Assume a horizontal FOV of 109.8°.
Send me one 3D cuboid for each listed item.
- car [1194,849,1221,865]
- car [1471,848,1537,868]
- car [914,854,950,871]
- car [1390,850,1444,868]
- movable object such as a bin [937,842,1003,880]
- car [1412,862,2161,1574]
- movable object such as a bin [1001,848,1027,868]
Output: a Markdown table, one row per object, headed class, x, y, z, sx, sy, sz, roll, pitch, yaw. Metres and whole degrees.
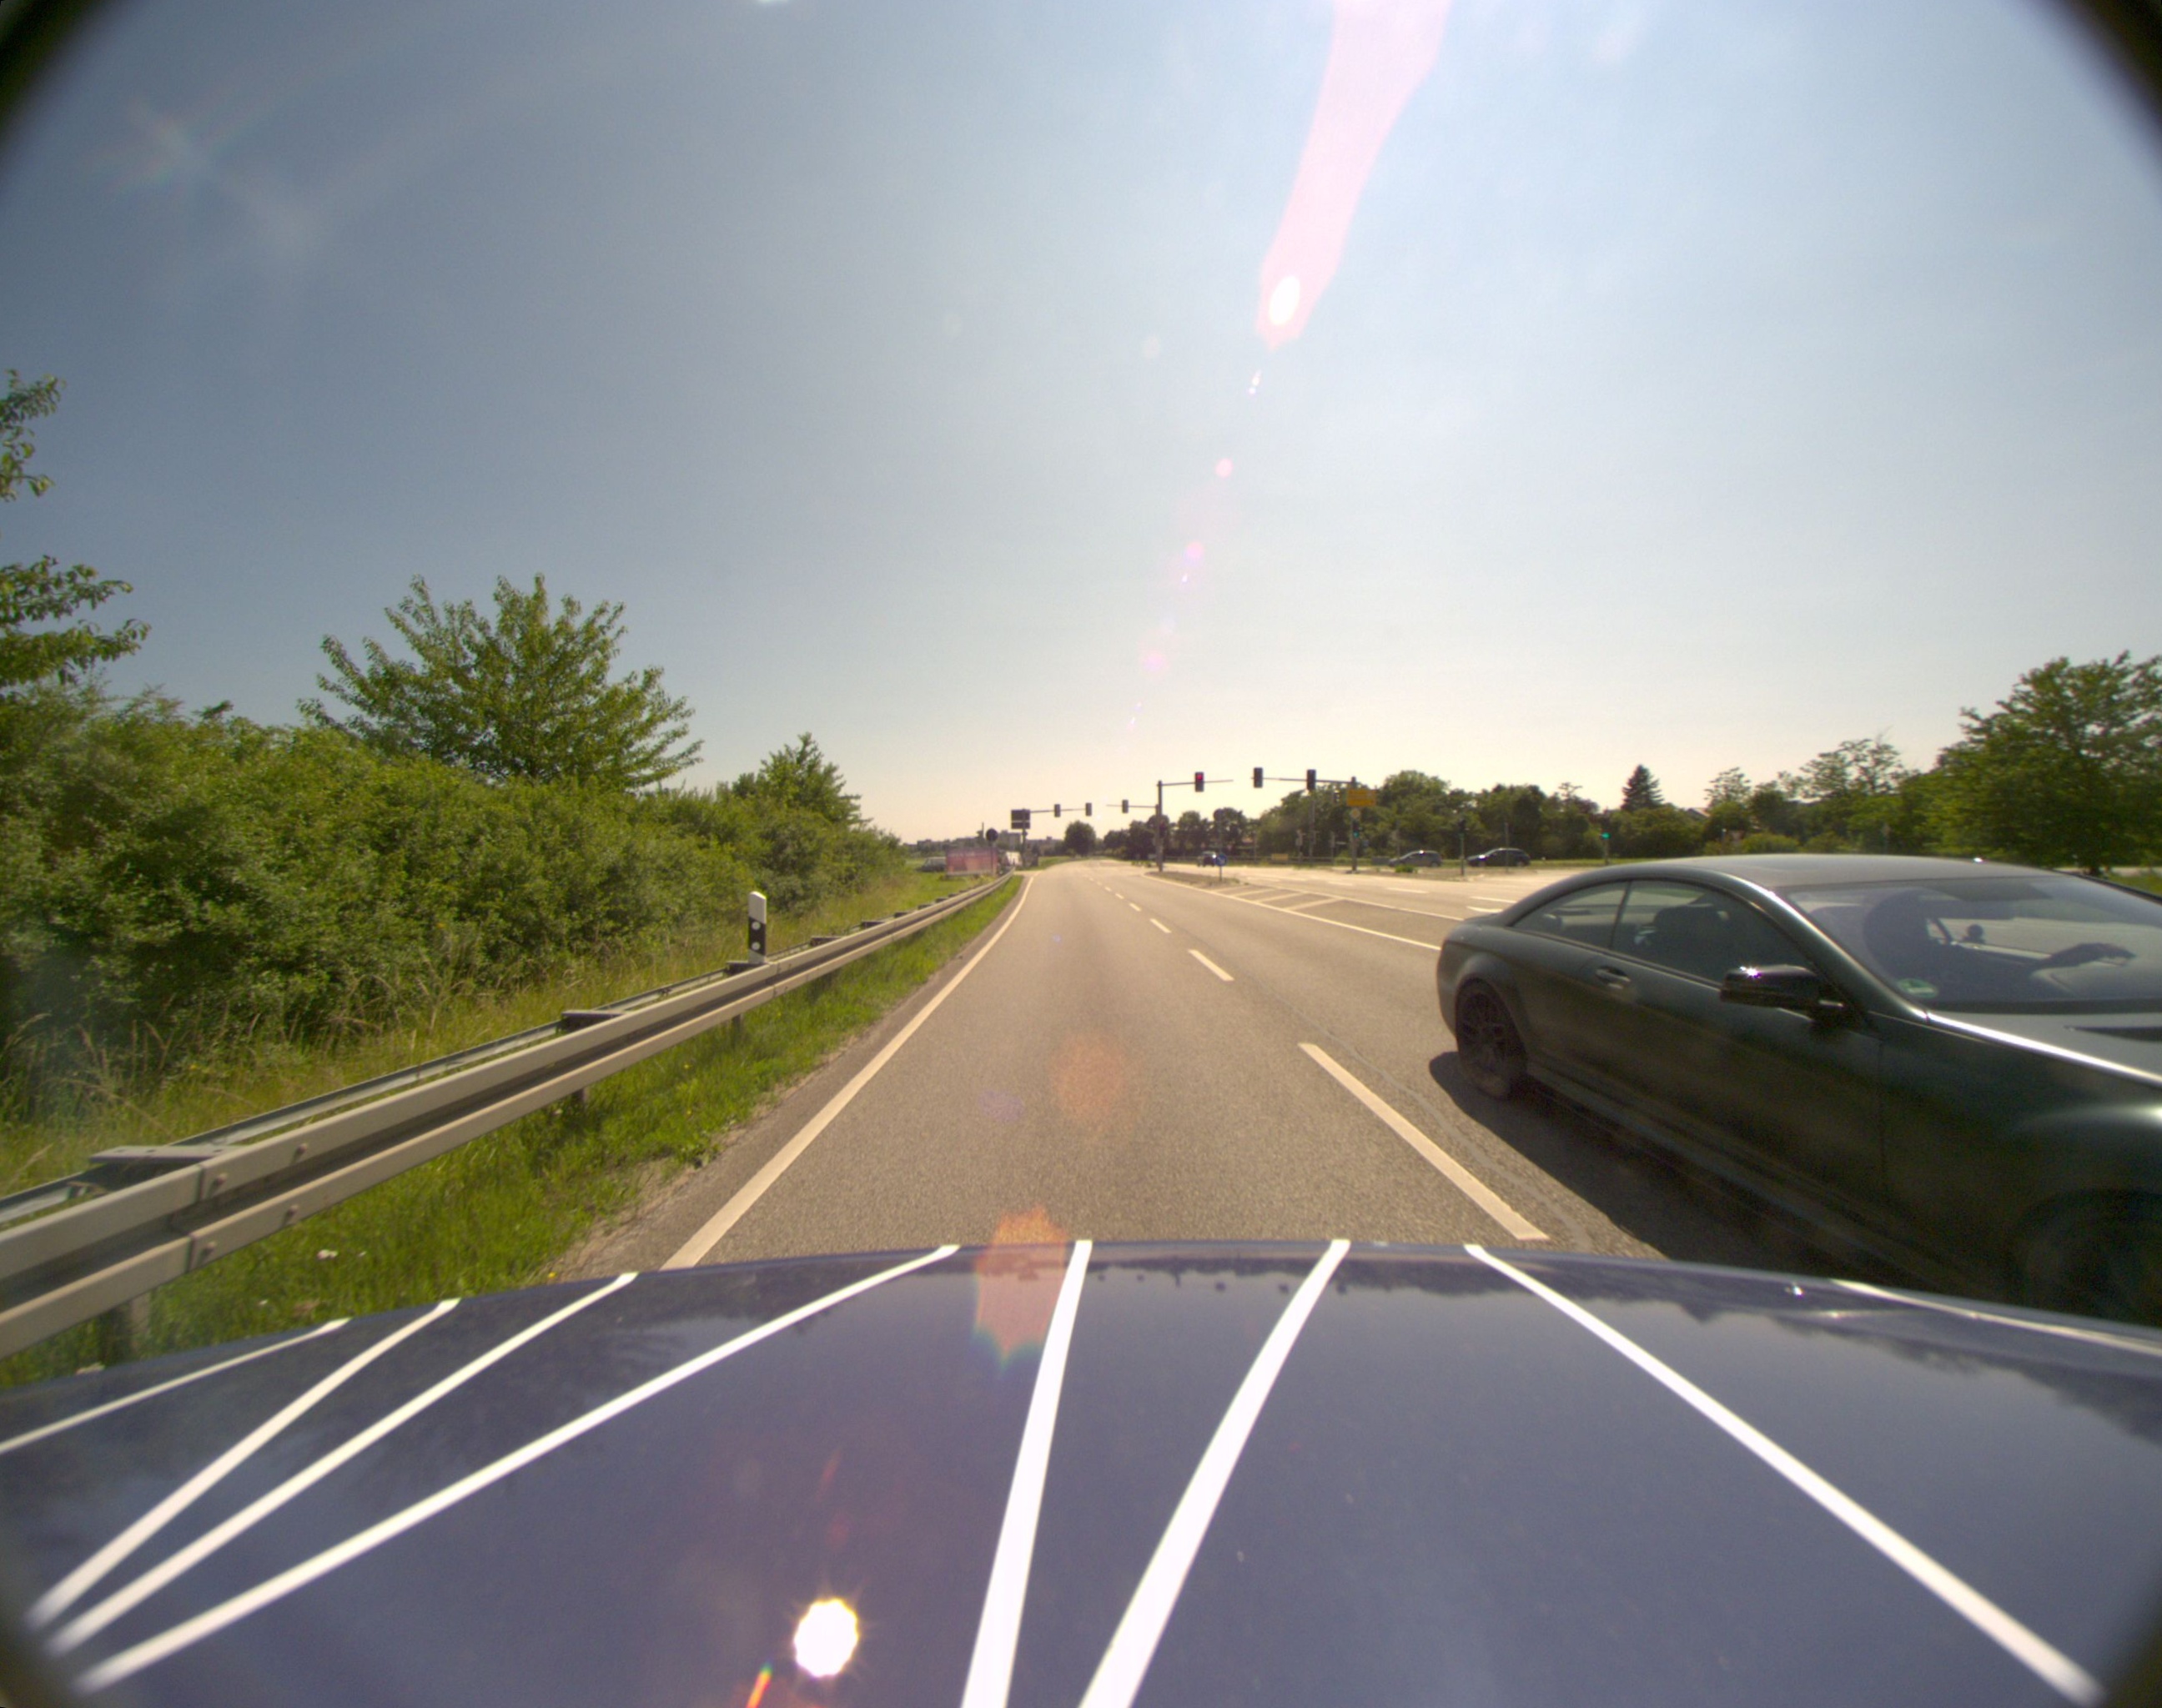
| class | x | y | z | sx | sy | sz | roll | pitch | yaw |
| --- | --- | --- | --- | --- | --- | --- | --- | --- | --- |
| car | 13.178 | 0.286 | 79.467 | 1.835 | 1.591 | 4.303 | 0 | 1 | -4 |
| car | 34.282 | 0.295 | 61.696 | 4.361 | 1.585 | 1.637 | 0 | 1 | 15 |
| car | -14.642 | 0.821 | 74.994 | 3.346 | 1.491 | 1.400 | -2 | 1 | -7 |
| car | 27.885 | 0.424 | 63.234 | 3.873 | 1.379 | 1.637 | -1 | 0 | 13 |
| movable object such as a bin | -7.226 | 0.440 | 49.882 | 4.106 | 2.318 | 1.277 | -3 | 1 | -4 |
| car | 3.256 | 0.819 | 2.934 | 1.815 | 1.441 | 4.876 | -2 | 0 | 0 |
| movable object such as a bin | -8.297 | 0.450 | 94.304 | 1.523 | 2.349 | 4.429 | -2 | 1 | 18 |
